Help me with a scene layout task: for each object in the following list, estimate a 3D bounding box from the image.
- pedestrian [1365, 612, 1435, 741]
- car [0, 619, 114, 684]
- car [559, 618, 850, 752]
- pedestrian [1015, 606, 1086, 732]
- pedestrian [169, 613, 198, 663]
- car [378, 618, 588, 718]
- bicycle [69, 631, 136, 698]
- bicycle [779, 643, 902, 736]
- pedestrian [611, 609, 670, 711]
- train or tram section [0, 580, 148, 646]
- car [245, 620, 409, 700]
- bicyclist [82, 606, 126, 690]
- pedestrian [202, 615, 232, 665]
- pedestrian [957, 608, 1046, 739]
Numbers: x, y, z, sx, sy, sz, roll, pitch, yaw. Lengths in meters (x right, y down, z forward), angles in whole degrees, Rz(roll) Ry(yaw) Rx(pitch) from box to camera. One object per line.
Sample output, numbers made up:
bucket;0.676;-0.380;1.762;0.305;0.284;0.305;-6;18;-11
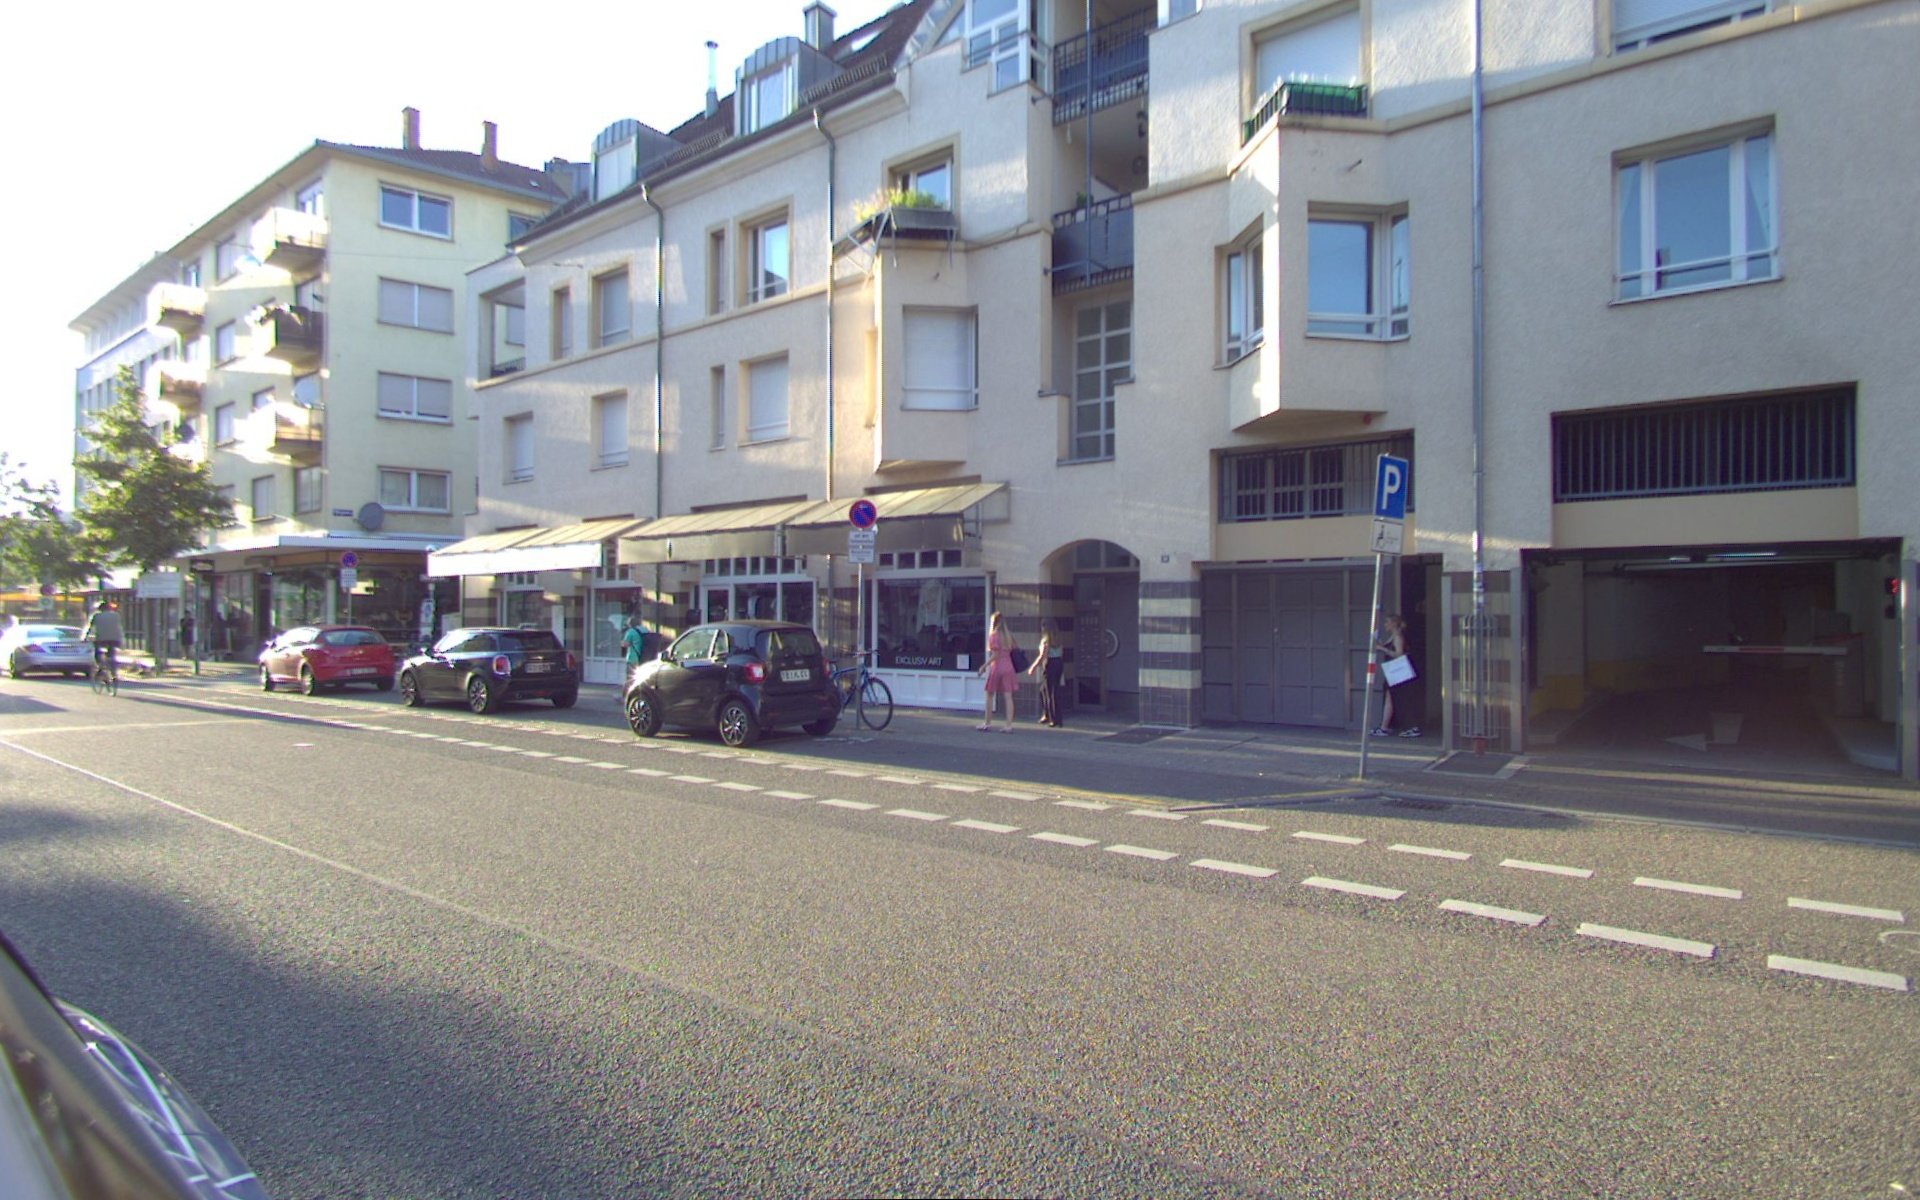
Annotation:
pedestrian;5.615;0.954;12.919;0.775;1.584;0.528;-1;-2;29
car;-24.823;1.358;27.421;4.397;1.617;1.975;-1;-3;37
car;-3.583;1.050;13.950;3.959;1.592;1.773;-1;-2;36
pedestrian;1.274;0.952;14.253;0.830;1.713;0.554;-1;-2;38
pedestrian;-28.915;1.405;37.694;0.666;1.805;0.711;-1;-1;39
car;-8.500;1.118;17.943;3.780;1.592;1.773;-1;-2;36
bicycle;-16.898;1.247;19.922;2.129;1.252;0.656;-1;-4;42
bicycle;-1.721;1.233;14.398;1.976;1.215;0.552;-1;-2;41
pedestrian;-5.634;1.032;17.852;0.737;1.747;0.711;-1;-1;38
train or tram section;-56.971;0.764;63.239;3.110;3.839;10.415;-1;0;8
car;-13.908;1.249;22.176;3.780;1.592;1.773;-1;-2;36
bicyclist;-16.749;0.923;19.803;0.802;1.593;0.541;-1;-2;41
pedestrian;-26.997;1.440;36.783;0.666;1.805;0.711;-1;-1;39
pedestrian;0.558;0.967;13.761;1.039;1.713;0.624;-1;-2;38
